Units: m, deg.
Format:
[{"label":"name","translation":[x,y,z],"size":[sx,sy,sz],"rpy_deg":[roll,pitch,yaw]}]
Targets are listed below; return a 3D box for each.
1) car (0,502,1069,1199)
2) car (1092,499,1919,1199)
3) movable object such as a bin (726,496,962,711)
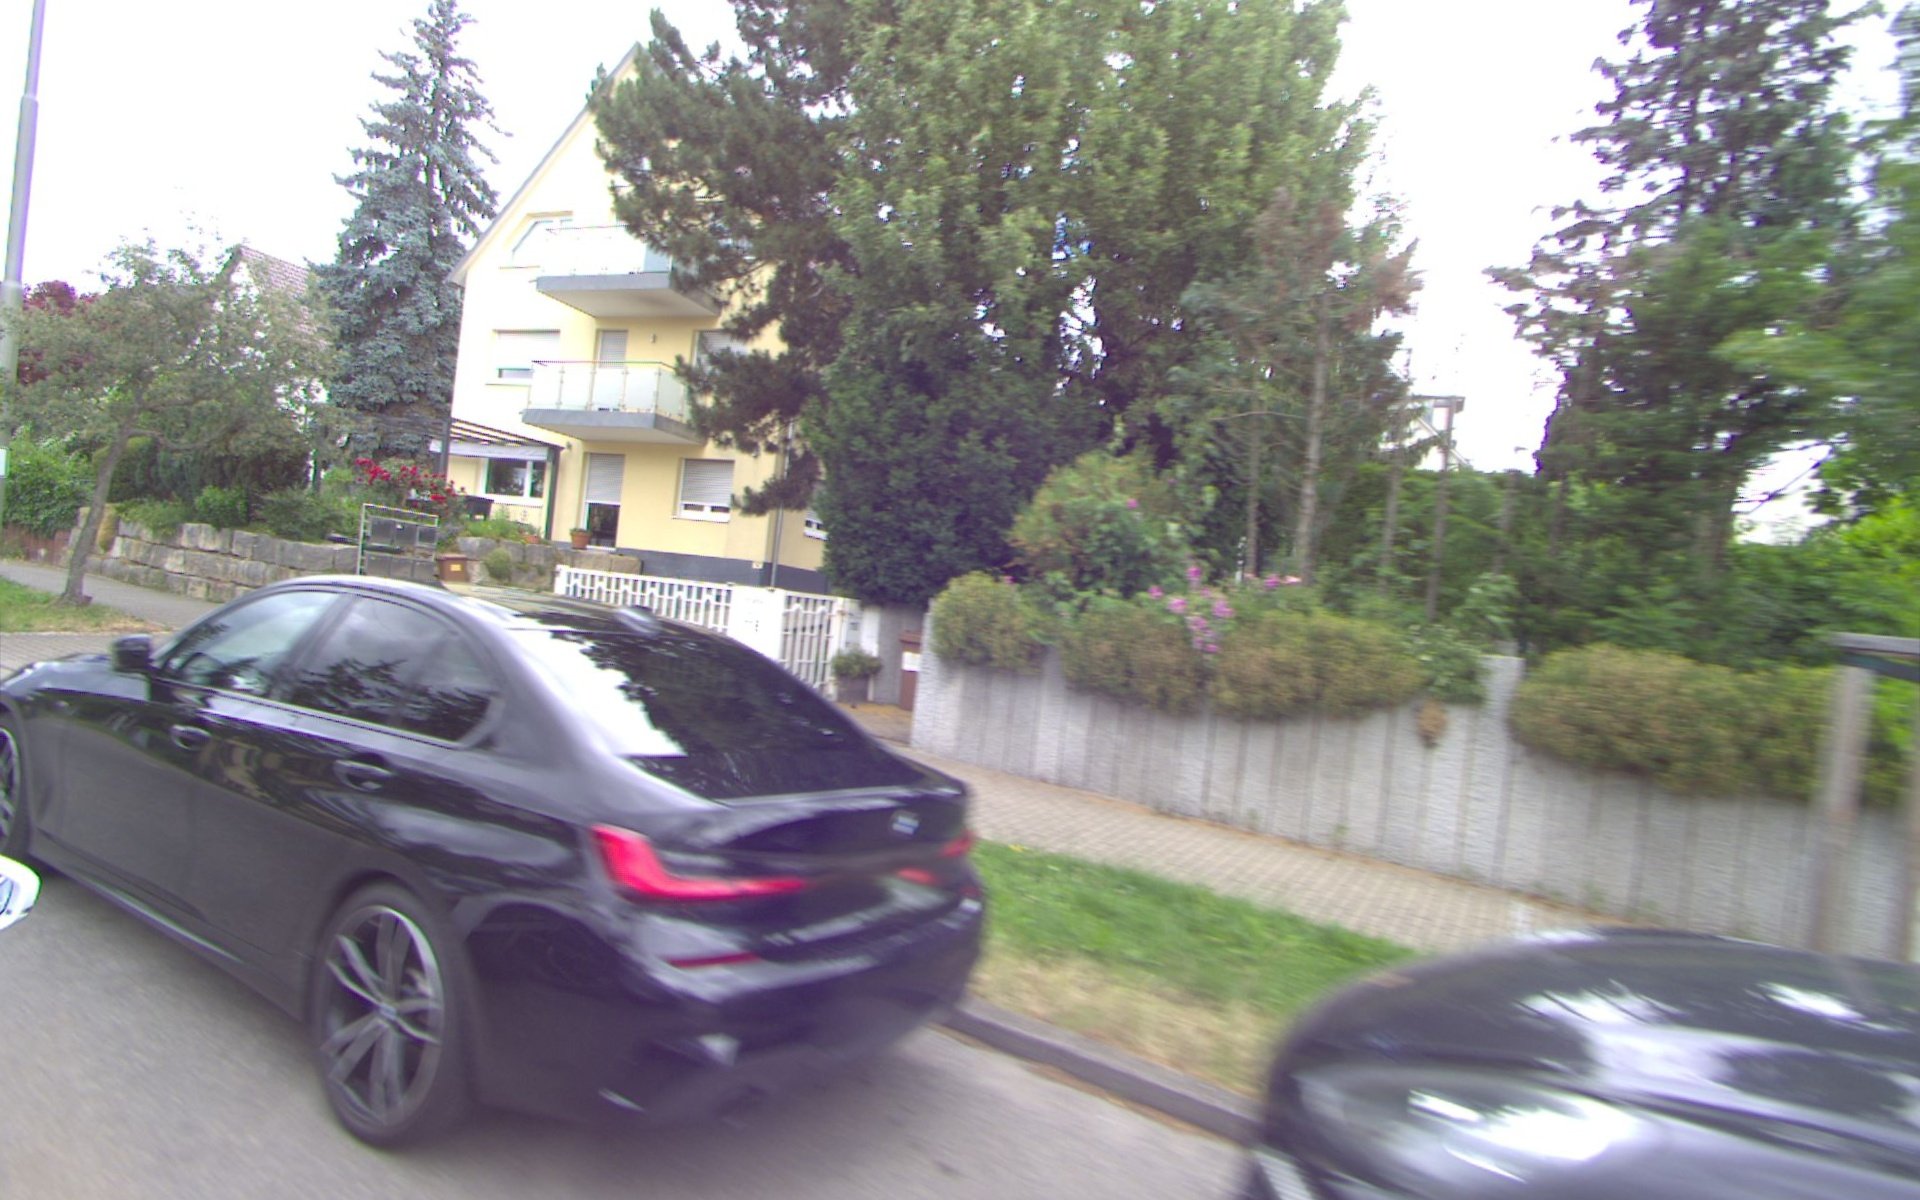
[{"label":"car","translation":[-2.062,0.610,3.965],"size":[4.474,1.473,1.834],"rpy_deg":[7,-2,31]},{"label":"car","translation":[2.563,1.050,1.057],"size":[4.474,1.730,1.835],"rpy_deg":[7,-3,32]},{"label":"movable object such as a bin","translation":[-1.201,0.116,11.175],"size":[1.320,2.036,2.318],"rpy_deg":[7,-2,27]}]
